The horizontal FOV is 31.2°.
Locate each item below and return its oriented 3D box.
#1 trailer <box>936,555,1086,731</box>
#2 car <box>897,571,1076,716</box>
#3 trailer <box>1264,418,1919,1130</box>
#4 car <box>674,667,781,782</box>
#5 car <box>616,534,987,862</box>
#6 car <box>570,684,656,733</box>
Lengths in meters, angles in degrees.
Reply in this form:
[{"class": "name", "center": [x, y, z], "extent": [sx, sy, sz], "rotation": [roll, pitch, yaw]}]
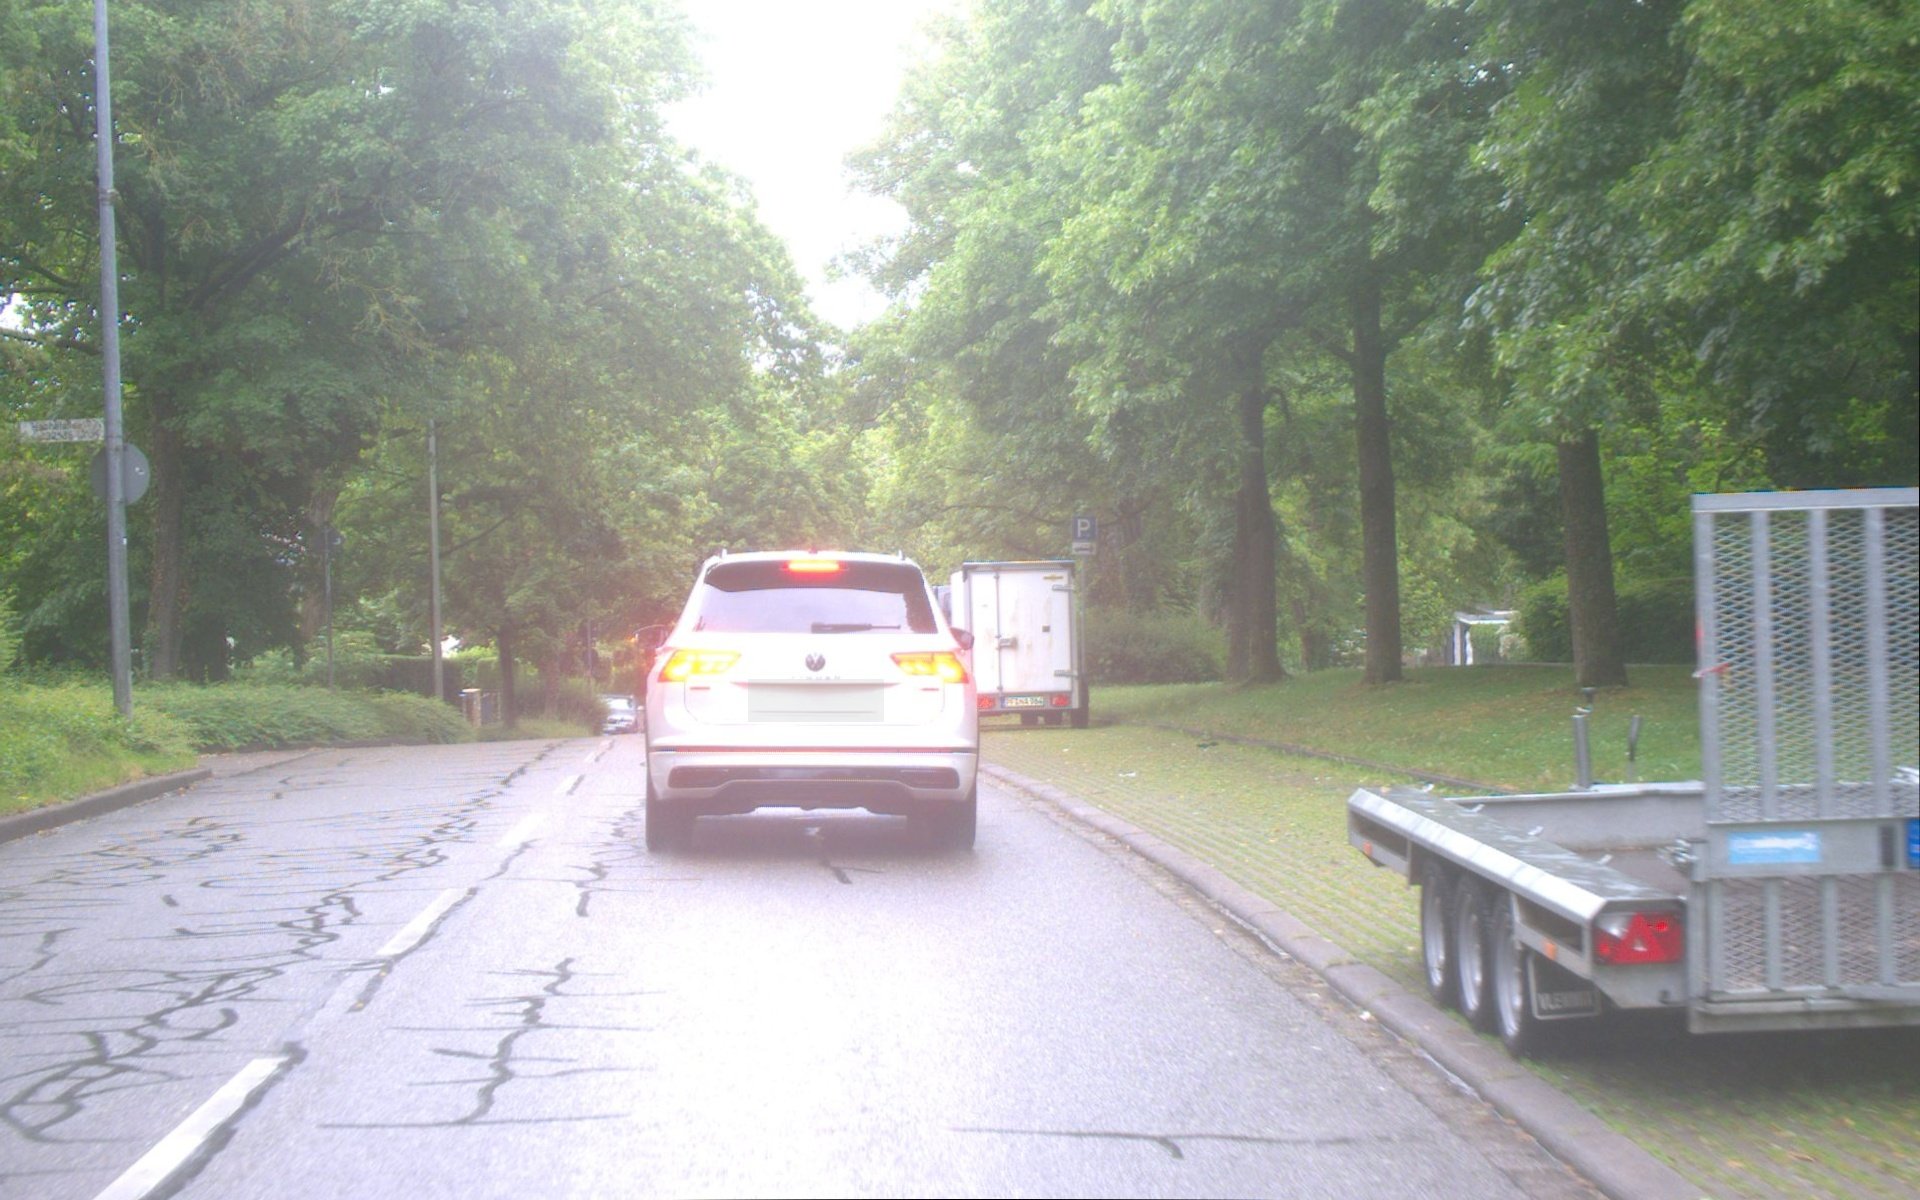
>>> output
[{"class": "trailer", "center": [0.605, 0.559, 43.508], "extent": [1.530, 2.068, 4.000], "rotation": [-2, -1, -3]}, {"class": "car", "center": [0.299, 0.653, 48.310], "extent": [1.993, 1.903, 5.509], "rotation": [-1, -2, -5]}, {"class": "trailer", "center": [2.678, 0.432, 11.821], "extent": [2.449, 1.806, 5.892], "rotation": [-1, 0, -3]}, {"class": "car", "center": [-4.933, 2.587, 72.456], "extent": [1.993, 2.006, 4.002], "rotation": [-1, 3, -7]}, {"class": "car", "center": [-0.875, 0.493, 20.011], "extent": [1.905, 1.679, 4.201], "rotation": [-1, 0, -1]}, {"class": "car", "center": [-11.685, 3.661, 116.035], "extent": [1.994, 1.593, 4.008], "rotation": [-1, -2, 8]}]
